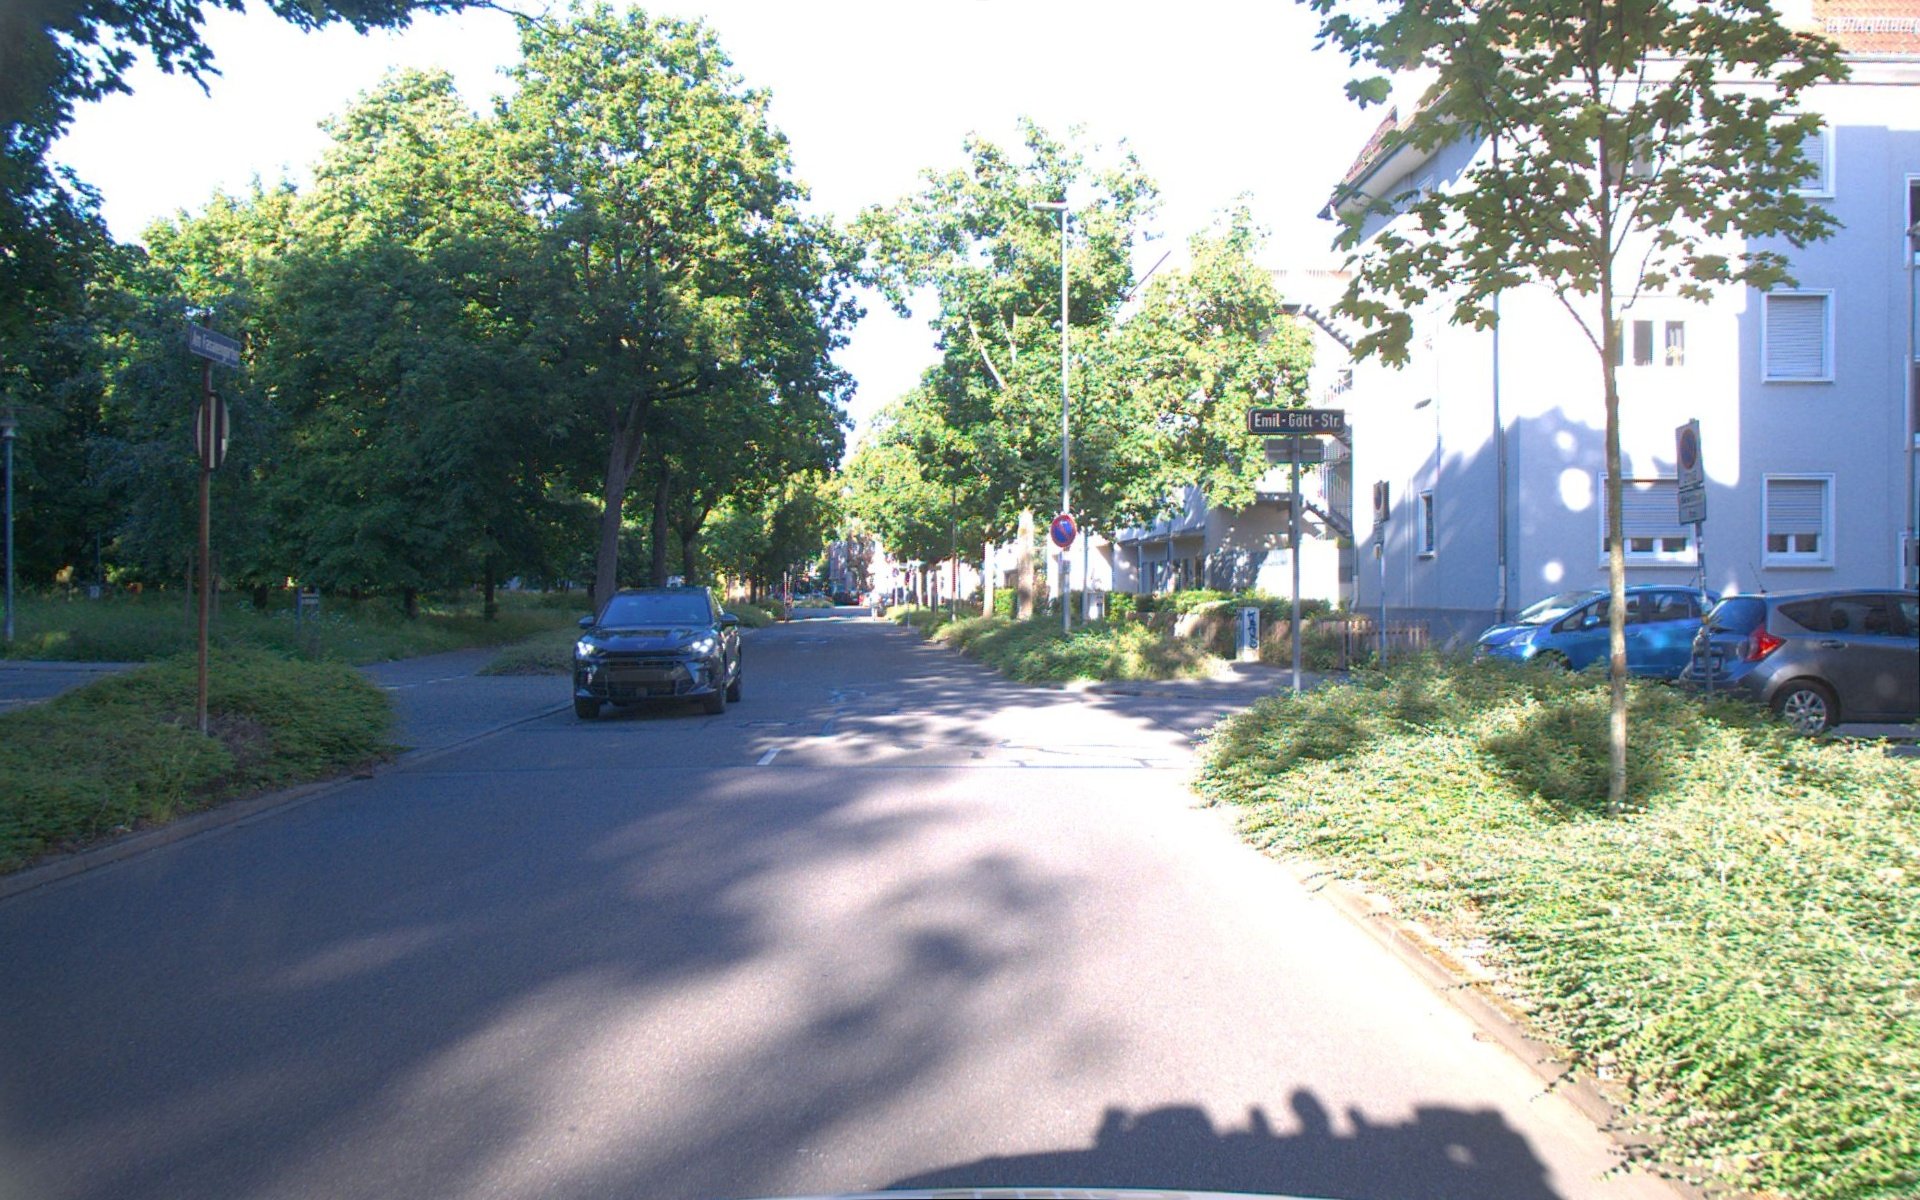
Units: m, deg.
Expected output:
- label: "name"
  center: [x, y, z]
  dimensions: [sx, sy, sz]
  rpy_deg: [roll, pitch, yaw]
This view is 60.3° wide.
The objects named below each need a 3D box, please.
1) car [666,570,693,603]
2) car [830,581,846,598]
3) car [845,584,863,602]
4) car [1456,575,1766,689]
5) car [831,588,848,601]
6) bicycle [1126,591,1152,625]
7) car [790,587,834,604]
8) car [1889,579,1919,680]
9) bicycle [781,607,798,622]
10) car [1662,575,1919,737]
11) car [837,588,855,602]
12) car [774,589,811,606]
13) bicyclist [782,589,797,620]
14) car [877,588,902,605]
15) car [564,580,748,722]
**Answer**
- label: "car"
  center: [-22.584, -1.088, 133.074]
  dimensions: [1.959, 2.552, 3.987]
  rpy_deg: [1, 0, -13]
- label: "car"
  center: [-15.544, -1.347, 210.856]
  dimensions: [1.777, 2.086, 3.993]
  rpy_deg: [1, 0, -8]
- label: "car"
  center: [-11.951, -0.773, 186.203]
  dimensions: [1.777, 1.959, 3.993]
  rpy_deg: [1, 0, -8]
- label: "car"
  center: [9.637, 0.444, 24.666]
  dimensions: [3.909, 1.609, 1.808]
  rpy_deg: [0, 1, -5]
- label: "car"
  center: [-14.686, -0.647, 200.692]
  dimensions: [1.777, 1.527, 3.993]
  rpy_deg: [1, 0, -8]
- label: "bicycle"
  center: [6.499, 0.295, 59.952]
  dimensions: [0.605, 1.212, 1.752]
  rpy_deg: [1, 0, -4]
- label: "car"
  center: [-13.910, -0.417, 155.174]
  dimensions: [3.917, 1.527, 1.812]
  rpy_deg: [1, 0, -13]
- label: "car"
  center: [16.392, 0.470, 25.040]
  dimensions: [3.747, 1.524, 1.647]
  rpy_deg: [1, 0, -3]
- label: "bicycle"
  center: [-8.833, 0.751, 85.744]
  dimensions: [0.626, 0.755, 2.126]
  rpy_deg: [-2, 0, 0]
- label: "car"
  center: [9.523, 0.574, 16.930]
  dimensions: [3.960, 1.541, 1.725]
  rpy_deg: [1, -1, -4]
- label: "car"
  center: [-13.369, -0.612, 194.247]
  dimensions: [1.777, 1.527, 3.993]
  rpy_deg: [1, 0, -8]
- label: "car"
  center: [-16.986, -0.256, 167.454]
  dimensions: [3.525, 1.536, 1.495]
  rpy_deg: [1, 0, -13]
- label: "bicyclist"
  center: [-8.856, 0.230, 85.864]
  dimensions: [0.620, 1.582, 1.002]
  rpy_deg: [-1, 0, -1]
- label: "car"
  center: [-6.787, -0.332, 157.895]
  dimensions: [1.779, 1.527, 3.989]
  rpy_deg: [0, 1, -12]
- label: "car"
  center: [-3.846, 0.576, 21.617]
  dimensions: [1.807, 1.606, 4.333]
  rpy_deg: [-2, 1, -3]
